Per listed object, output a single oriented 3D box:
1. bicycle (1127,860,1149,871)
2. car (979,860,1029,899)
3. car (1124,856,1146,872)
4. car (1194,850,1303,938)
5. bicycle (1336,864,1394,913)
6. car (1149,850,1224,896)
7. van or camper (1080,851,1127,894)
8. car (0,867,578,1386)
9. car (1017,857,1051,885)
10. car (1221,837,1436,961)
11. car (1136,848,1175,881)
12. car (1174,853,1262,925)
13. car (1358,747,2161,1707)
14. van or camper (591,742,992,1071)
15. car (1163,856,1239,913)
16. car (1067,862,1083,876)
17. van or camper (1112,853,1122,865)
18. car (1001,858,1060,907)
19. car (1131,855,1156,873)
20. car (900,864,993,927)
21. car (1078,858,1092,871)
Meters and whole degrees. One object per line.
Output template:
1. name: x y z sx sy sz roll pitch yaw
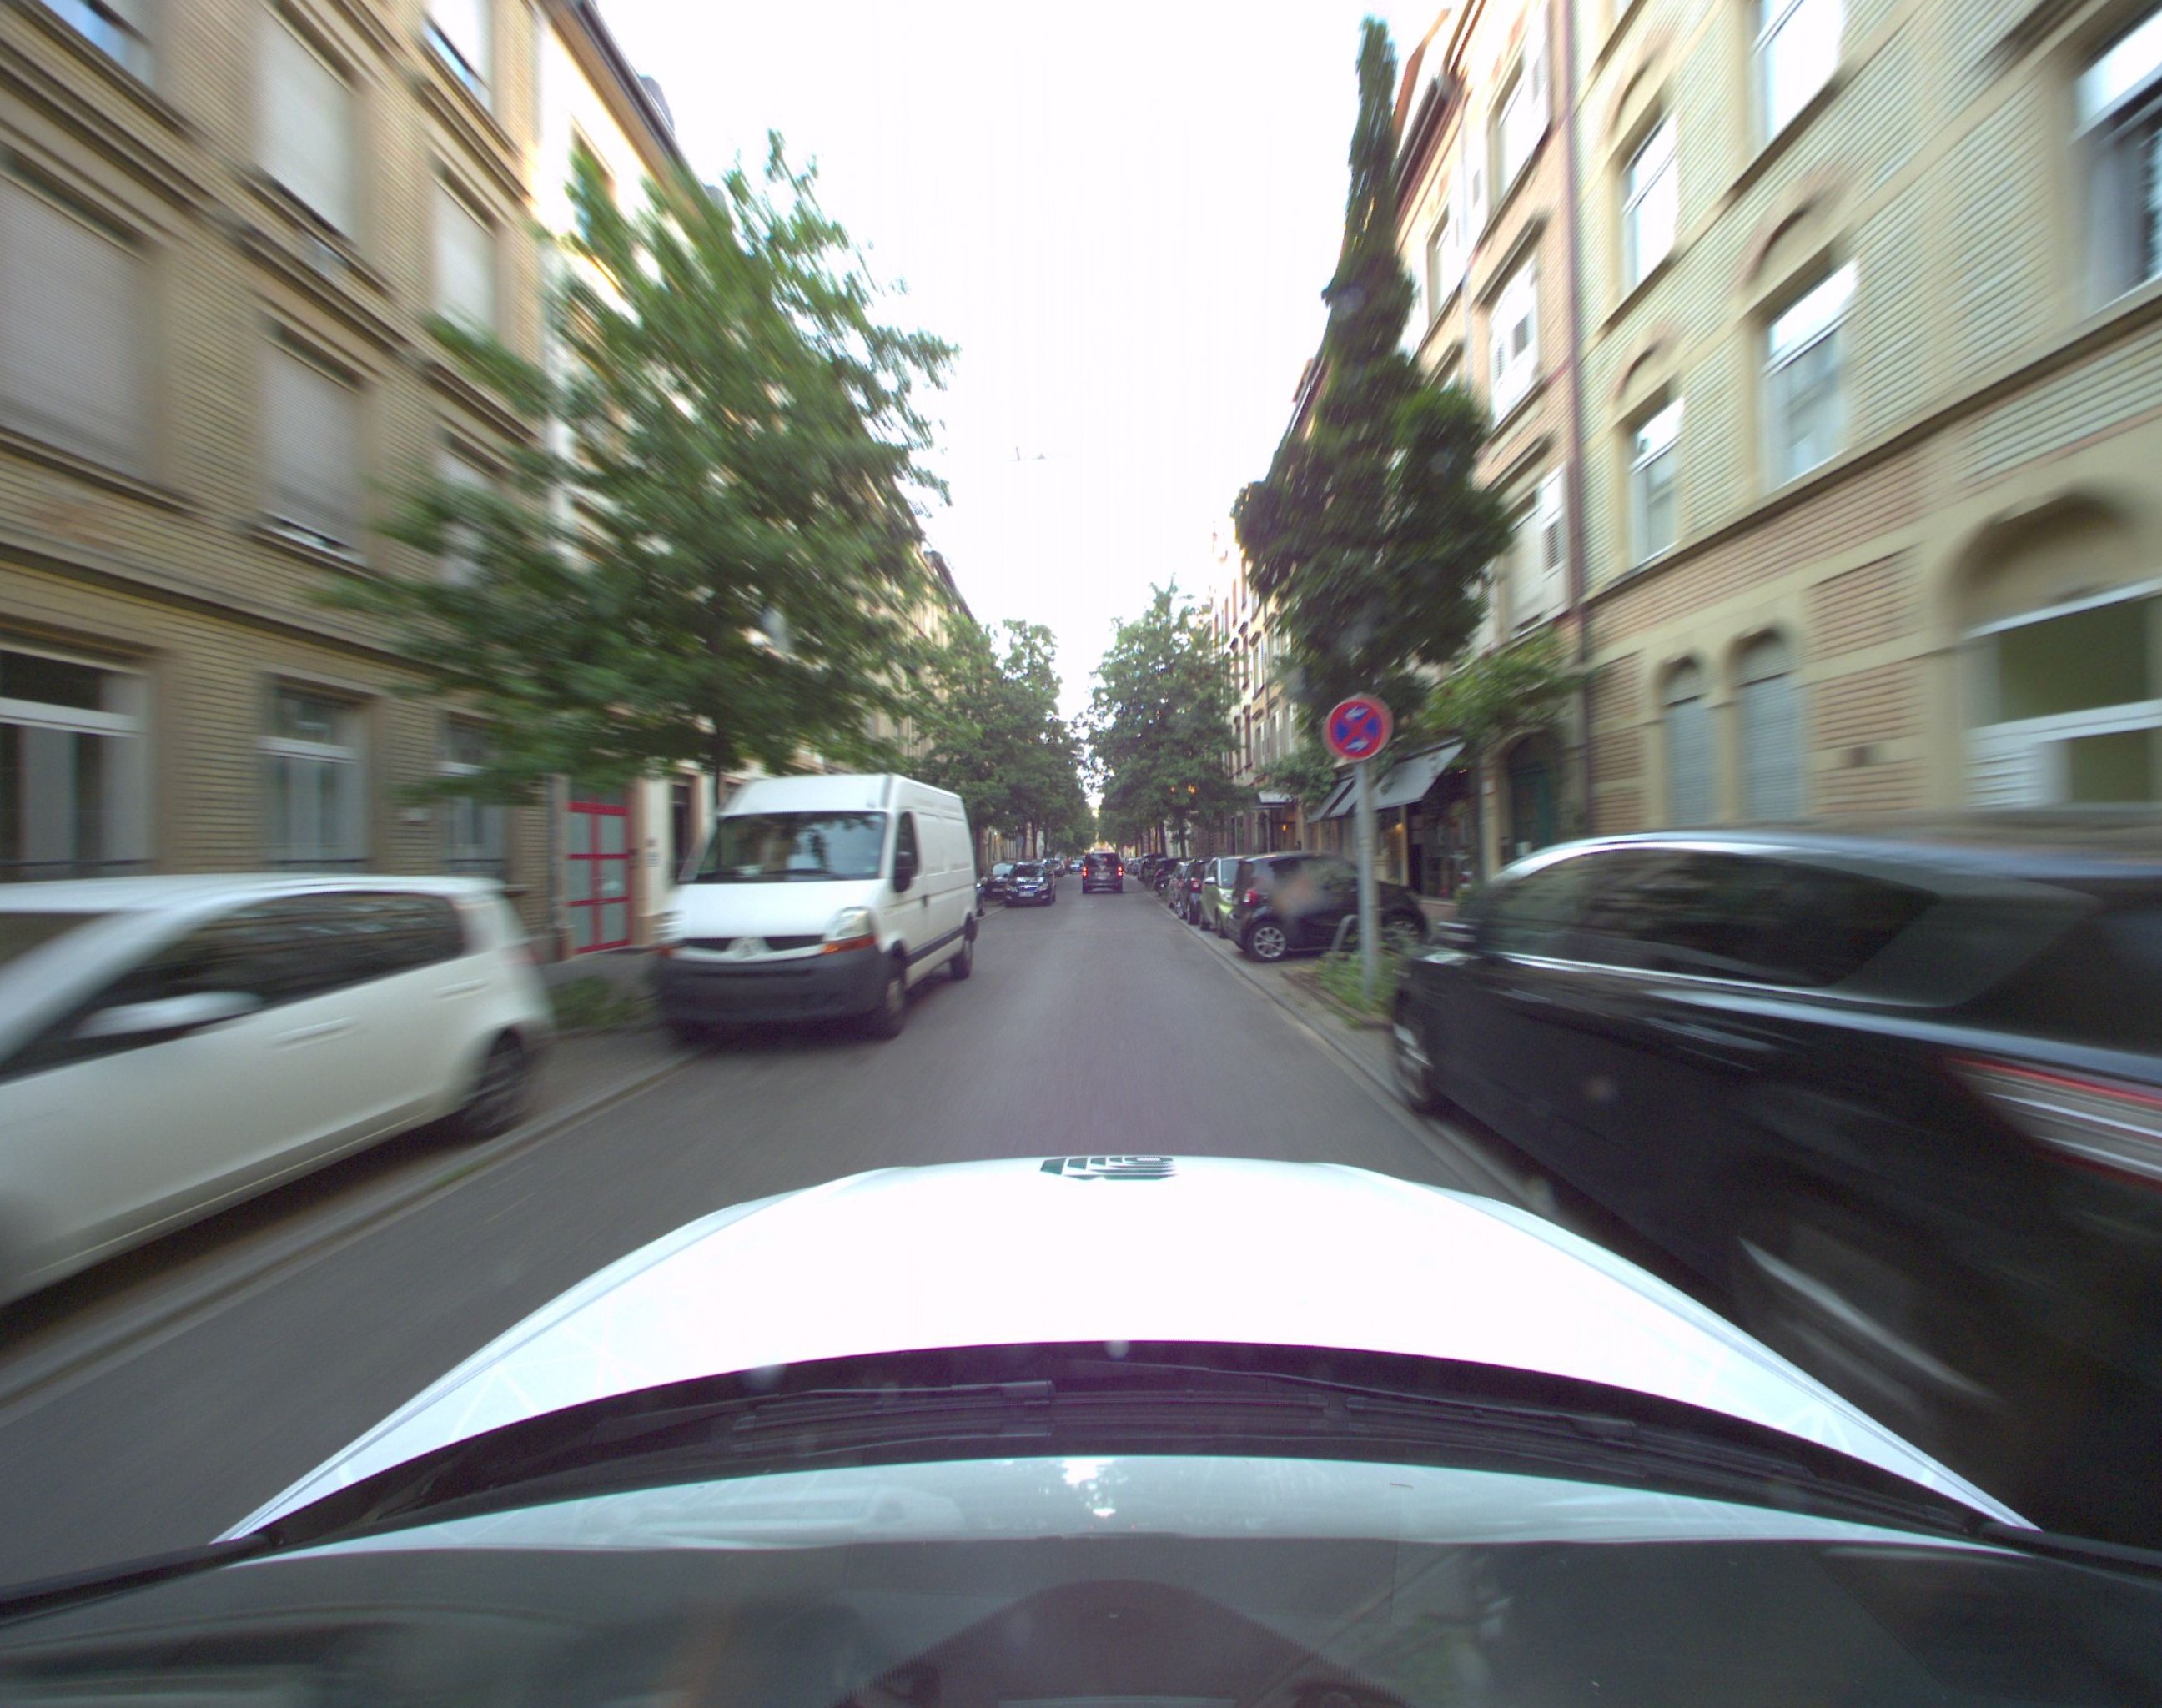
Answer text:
1. bicycle: 5.237 1.085 75.105 1.922 0.982 0.634 -2 0 -21
2. car: -3.123 1.019 33.774 1.685 1.501 3.712 0 0 0
3. car: 5.172 0.935 78.008 1.711 1.476 4.367 -3 0 0
4. car: 3.272 0.742 16.403 1.460 1.552 2.916 -3 0 -2
5. bicycle: 6.640 0.776 19.152 0.683 1.036 1.951 -4 -1 3
6. car: 4.288 0.772 33.550 2.787 1.599 1.801 -5 -1 1
7. van or camper: 1.125 0.851 38.734 2.026 1.897 4.274 -1 0 3
8. car: -4.099 0.863 3.411 1.605 1.543 3.798 -1 0 0
9. car: -2.868 1.007 50.453 1.669 1.607 3.865 -1 0 3
10. car: 3.613 0.635 12.229 2.705 1.573 1.526 -4 0 1
11. car: 4.642 0.641 51.391 2.006 1.833 4.812 -4 0 1
12. car: 3.254 0.793 19.793 1.586 1.560 3.122 -2 0 0
13. car: 2.807 0.627 3.280 1.932 1.631 4.455 -1 0 1
14. van or camper: -2.526 0.411 9.048 2.211 2.431 5.662 -2 0 2
15. car: 3.460 0.826 24.166 1.727 1.491 4.105 -2 0 1
16. car: -0.606 1.556 84.896 1.574 1.420 3.754 -2 0 1
17. van or camper: 7.944 1.112 180.229 1.987 2.599 5.423 -2 -1 0
18. car: -1.764 0.966 29.565 1.717 1.573 4.221 -2 0 1
19. car: 5.274 0.828 69.089 1.752 1.463 4.308 -2 0 1
20. car: -3.510 1.044 22.018 1.761 1.462 4.258 -2 0 0
21. car: 0.500 1.266 102.155 1.659 1.563 3.997 -2 0 -2
